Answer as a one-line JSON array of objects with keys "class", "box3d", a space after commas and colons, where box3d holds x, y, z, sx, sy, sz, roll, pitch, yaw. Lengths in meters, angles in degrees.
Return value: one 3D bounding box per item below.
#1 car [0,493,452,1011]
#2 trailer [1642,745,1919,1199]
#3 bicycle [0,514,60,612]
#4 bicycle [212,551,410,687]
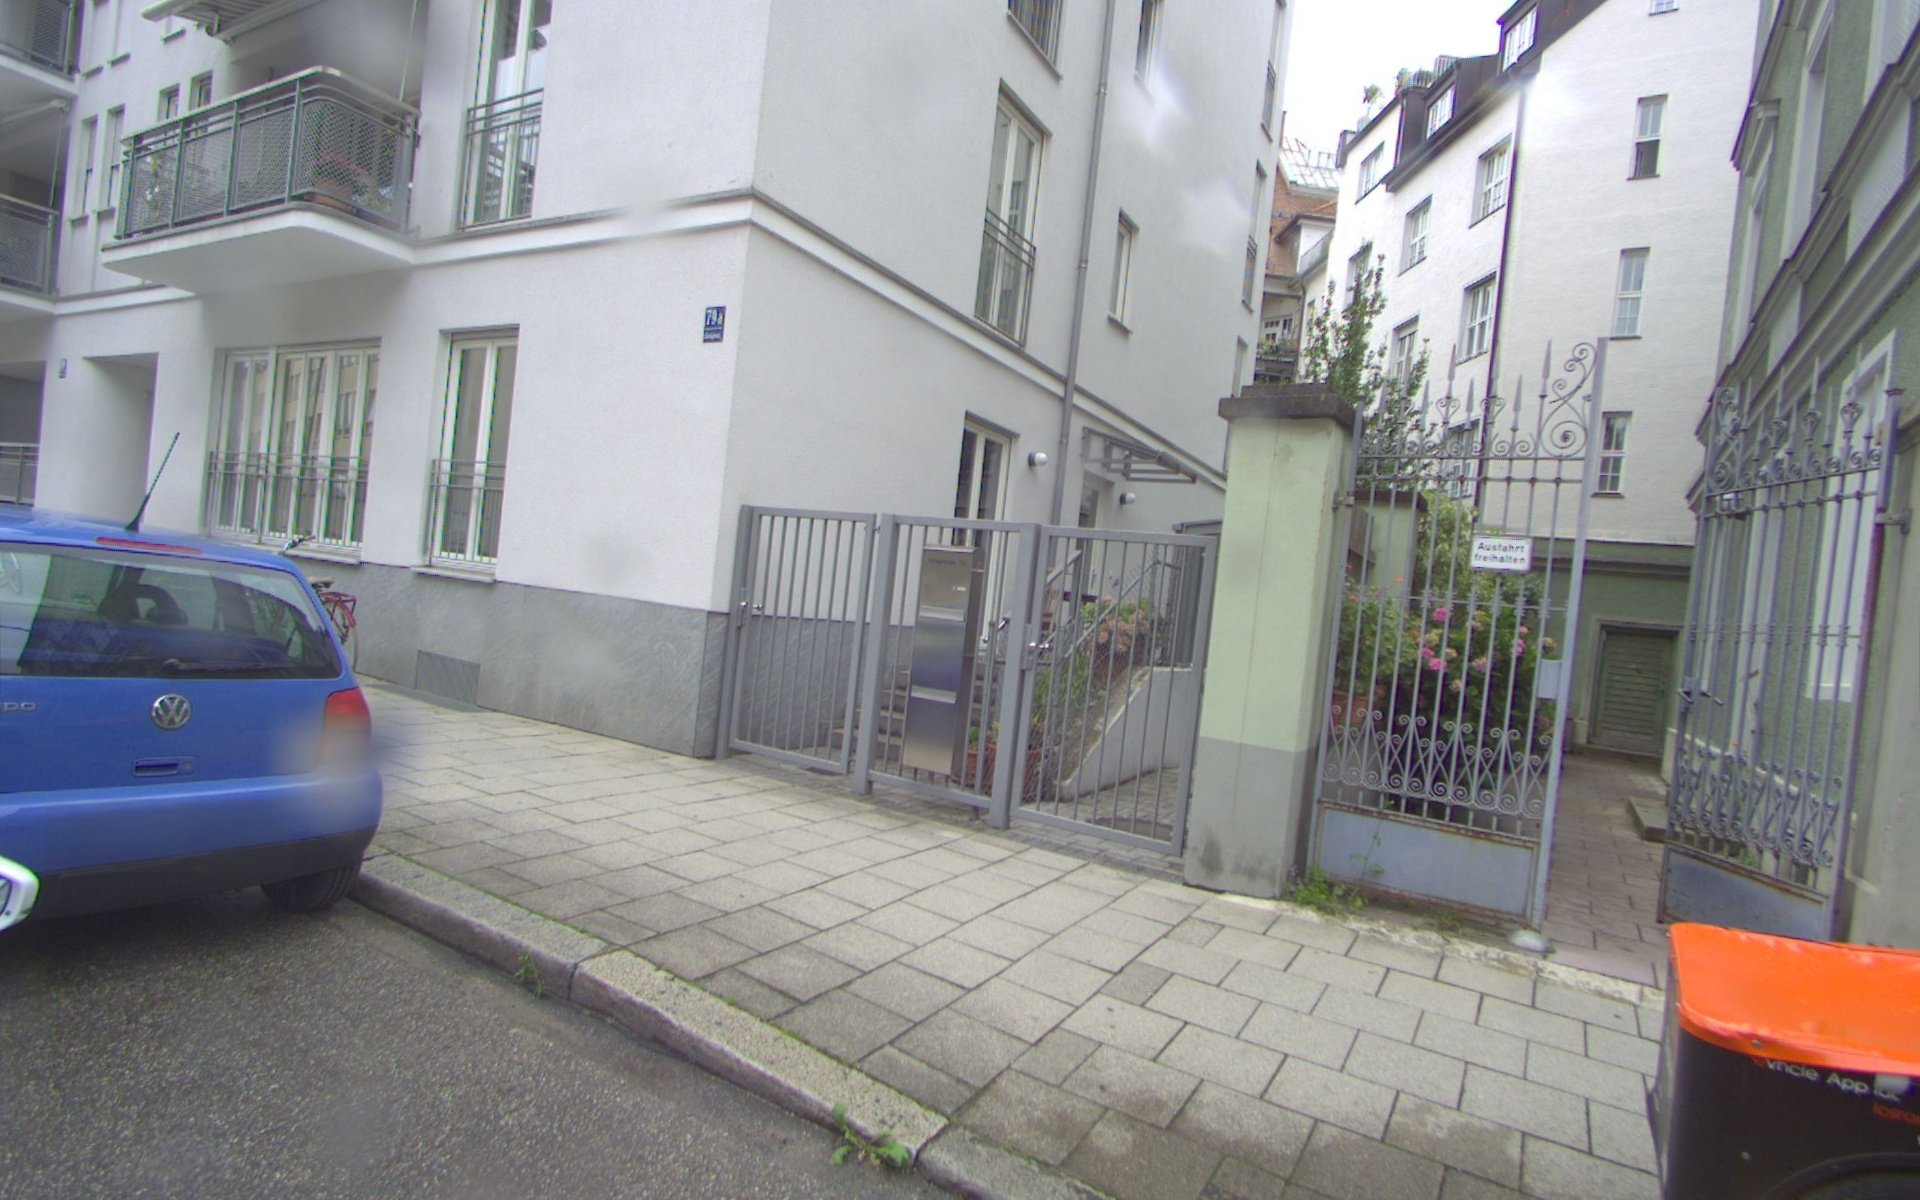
[{"class": "car", "box3d": [-3.939, 0.311, 3.992, 3.492, 1.428, 1.623, 6, -2, 29]}, {"class": "trailer", "box3d": [2.583, 1.091, 1.823, 2.130, 1.200, 0.941, 7, 4, 36]}, {"class": "bicycle", "box3d": [-12.910, -0.548, 13.420, 2.091, 1.175, 0.628, 7, 1, 29]}, {"class": "bicycle", "box3d": [-5.840, 0.154, 9.026, 1.804, 1.041, 0.678, 5, 0, 30]}]
